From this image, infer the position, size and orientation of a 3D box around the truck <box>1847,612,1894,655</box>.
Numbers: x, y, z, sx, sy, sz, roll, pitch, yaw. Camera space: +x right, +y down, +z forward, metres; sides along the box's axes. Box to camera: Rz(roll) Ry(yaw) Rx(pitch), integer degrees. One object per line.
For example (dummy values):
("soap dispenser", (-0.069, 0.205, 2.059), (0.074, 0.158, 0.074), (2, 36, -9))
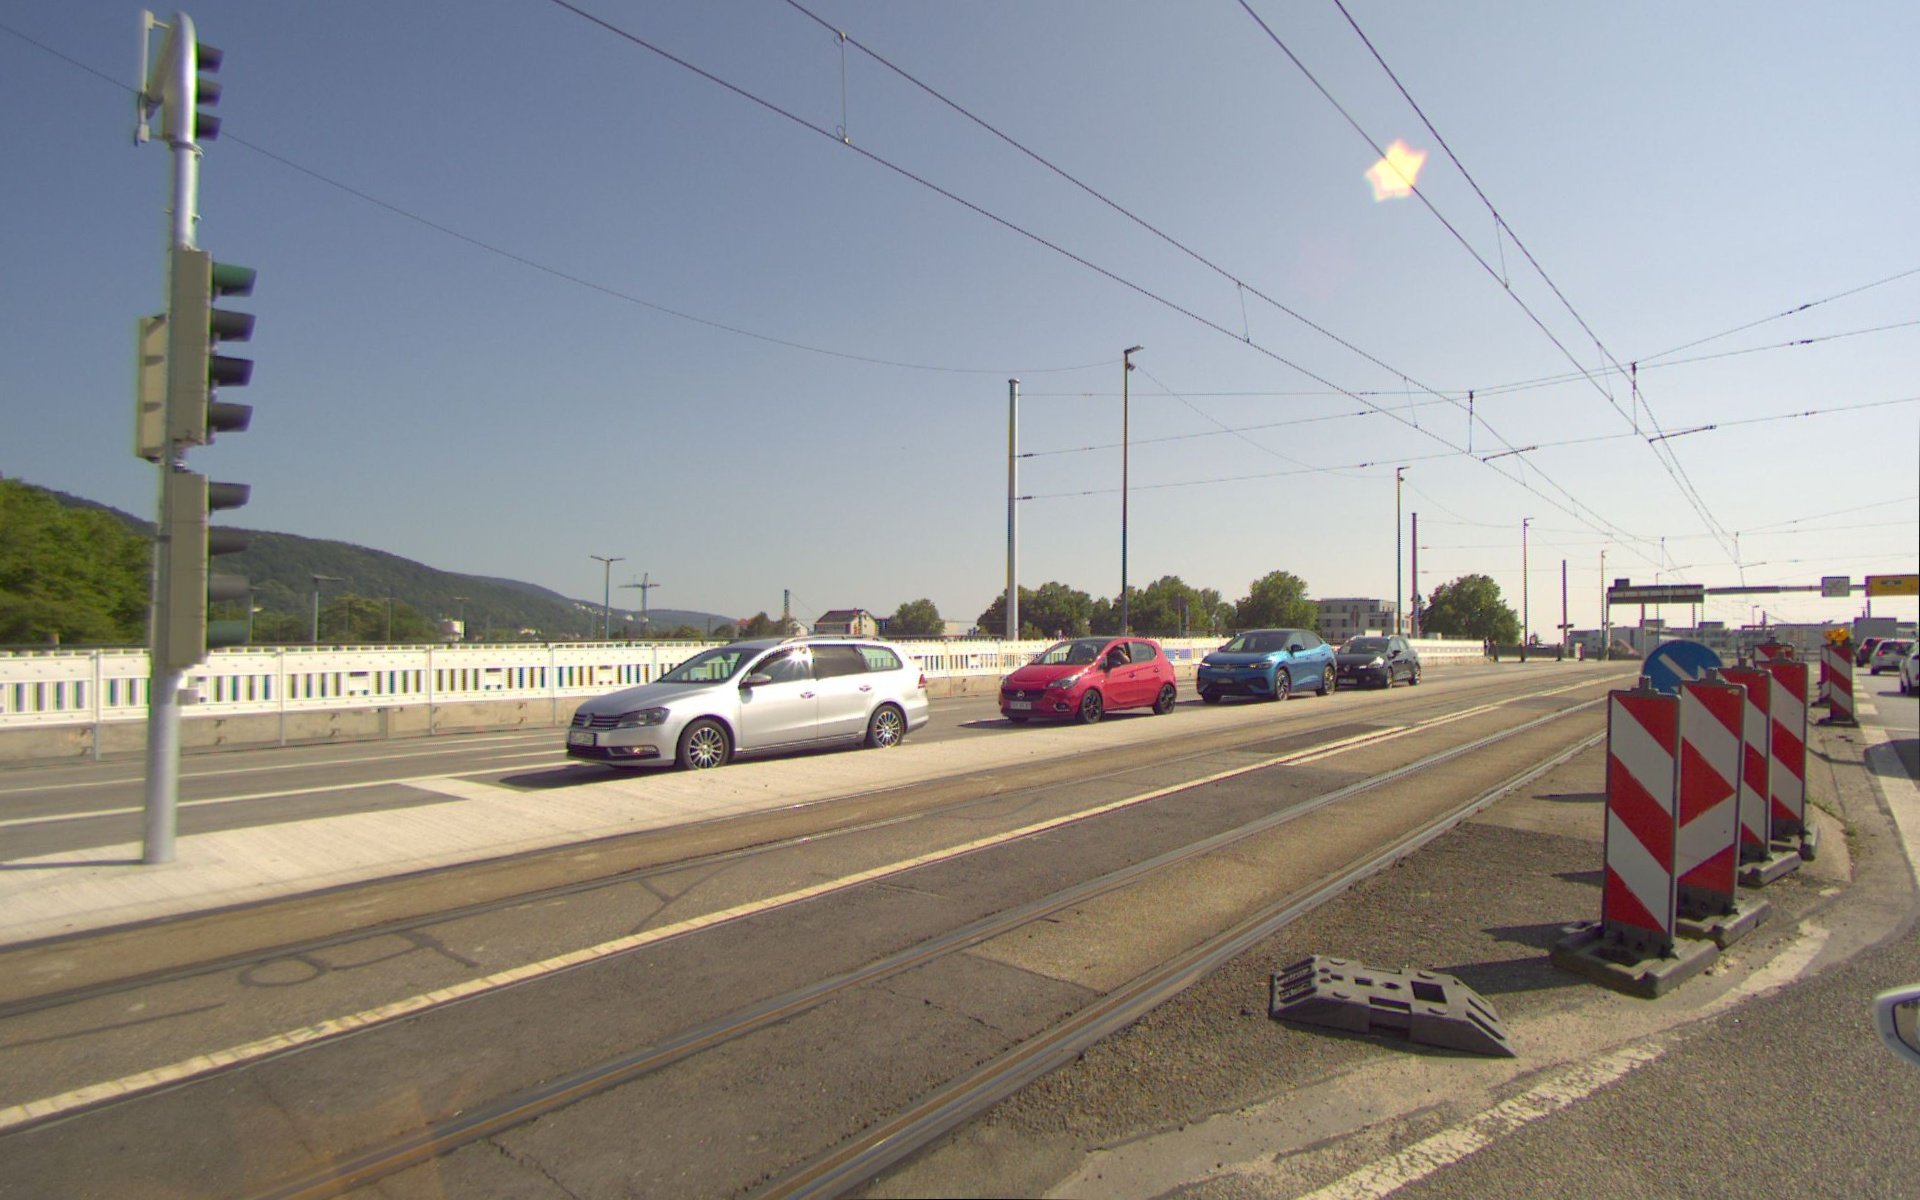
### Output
("truck", (71.115, 2.606, 78.602), (2.432, 3.176, 11.158), (-2, -2, 41))

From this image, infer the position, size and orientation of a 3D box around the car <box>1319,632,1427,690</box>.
("car", (11.625, 1.672, 28.112), (1.489, 1.520, 4.156), (-4, -4, 41))

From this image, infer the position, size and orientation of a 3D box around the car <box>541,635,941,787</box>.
("car", (-2.384, 1.181, 11.988), (1.619, 1.456, 4.620), (-5, -5, 41))

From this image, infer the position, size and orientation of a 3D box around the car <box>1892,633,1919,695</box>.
("car", (23.862, 1.536, 24.355), (1.698, 1.423, 3.395), (0, -1, 41))

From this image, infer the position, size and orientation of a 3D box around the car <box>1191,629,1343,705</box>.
("car", (7.148, 1.486, 23.092), (1.651, 1.570, 4.533), (-3, -3, 41))

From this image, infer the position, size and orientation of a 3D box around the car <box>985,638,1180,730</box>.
("car", (2.286, 1.418, 17.946), (1.516, 1.456, 3.960), (-3, -3, 41))

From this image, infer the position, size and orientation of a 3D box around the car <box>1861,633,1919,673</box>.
("car", (38.698, 2.172, 41.825), (1.698, 1.552, 3.679), (0, -1, 41))

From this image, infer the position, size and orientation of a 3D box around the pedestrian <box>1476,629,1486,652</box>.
("pedestrian", (43.201, 3.338, 83.290), (0.627, 1.918, 0.748), (0, -2, 41))
